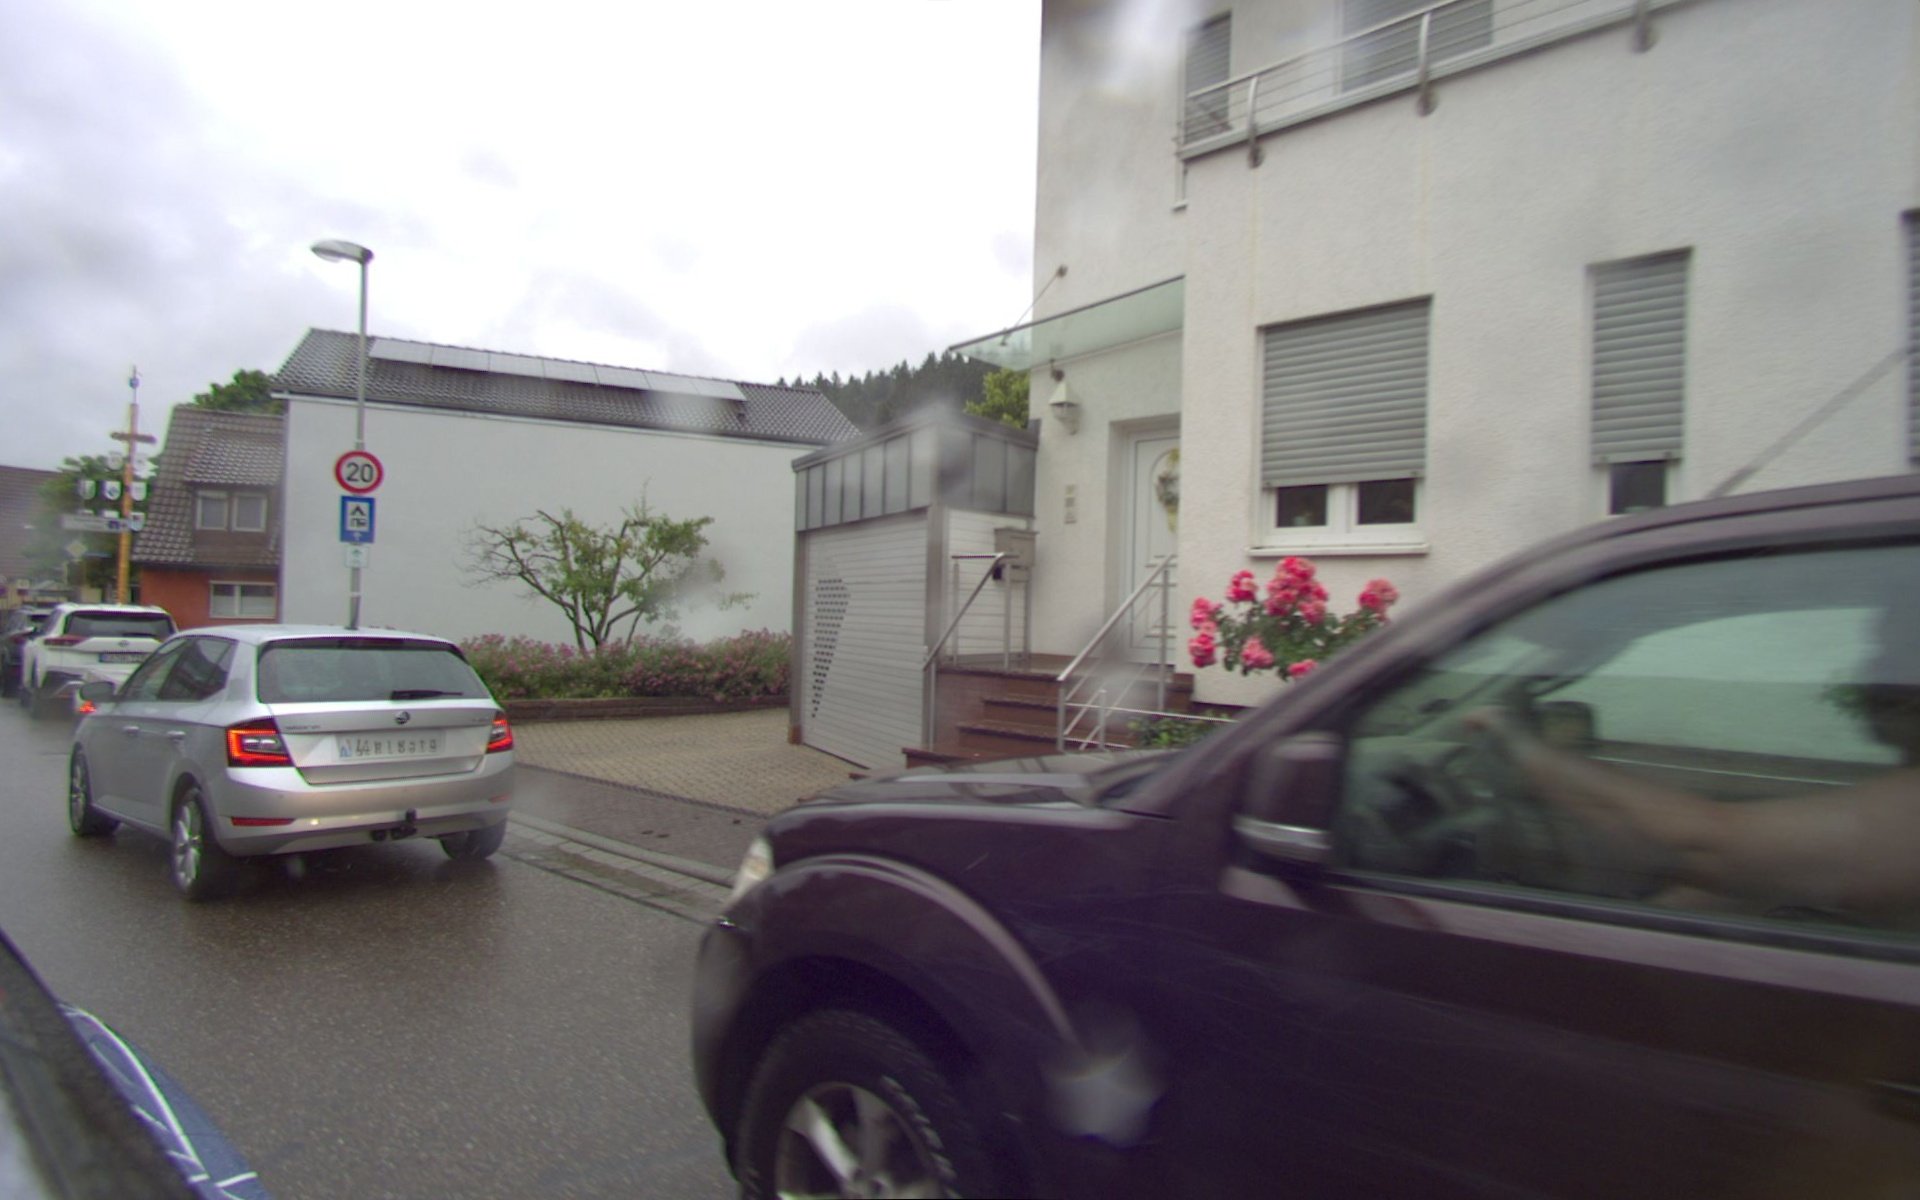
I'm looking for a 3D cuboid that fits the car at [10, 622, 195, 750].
[{"bbox_3d":[-13.500,1.231,15.845,4.185,1.697,1.791,0,-3,45],"label":"car"}]

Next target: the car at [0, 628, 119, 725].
[{"bbox_3d":[-17.827,1.412,19.719,4.184,1.628,1.653,0,-3,43],"label":"car"}]

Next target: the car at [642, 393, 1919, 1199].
[{"bbox_3d":[1.913,0.687,1.225,5.192,1.686,1.816,0,-3,39],"label":"car"}]

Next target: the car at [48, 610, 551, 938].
[{"bbox_3d":[-4.331,0.887,6.441,3.711,1.493,1.564,-2,-5,39],"label":"car"}]

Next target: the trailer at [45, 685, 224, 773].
[{"bbox_3d":[-10.903,1.631,13.311,3.007,0.821,1.483,0,-3,44],"label":"trailer"}]
